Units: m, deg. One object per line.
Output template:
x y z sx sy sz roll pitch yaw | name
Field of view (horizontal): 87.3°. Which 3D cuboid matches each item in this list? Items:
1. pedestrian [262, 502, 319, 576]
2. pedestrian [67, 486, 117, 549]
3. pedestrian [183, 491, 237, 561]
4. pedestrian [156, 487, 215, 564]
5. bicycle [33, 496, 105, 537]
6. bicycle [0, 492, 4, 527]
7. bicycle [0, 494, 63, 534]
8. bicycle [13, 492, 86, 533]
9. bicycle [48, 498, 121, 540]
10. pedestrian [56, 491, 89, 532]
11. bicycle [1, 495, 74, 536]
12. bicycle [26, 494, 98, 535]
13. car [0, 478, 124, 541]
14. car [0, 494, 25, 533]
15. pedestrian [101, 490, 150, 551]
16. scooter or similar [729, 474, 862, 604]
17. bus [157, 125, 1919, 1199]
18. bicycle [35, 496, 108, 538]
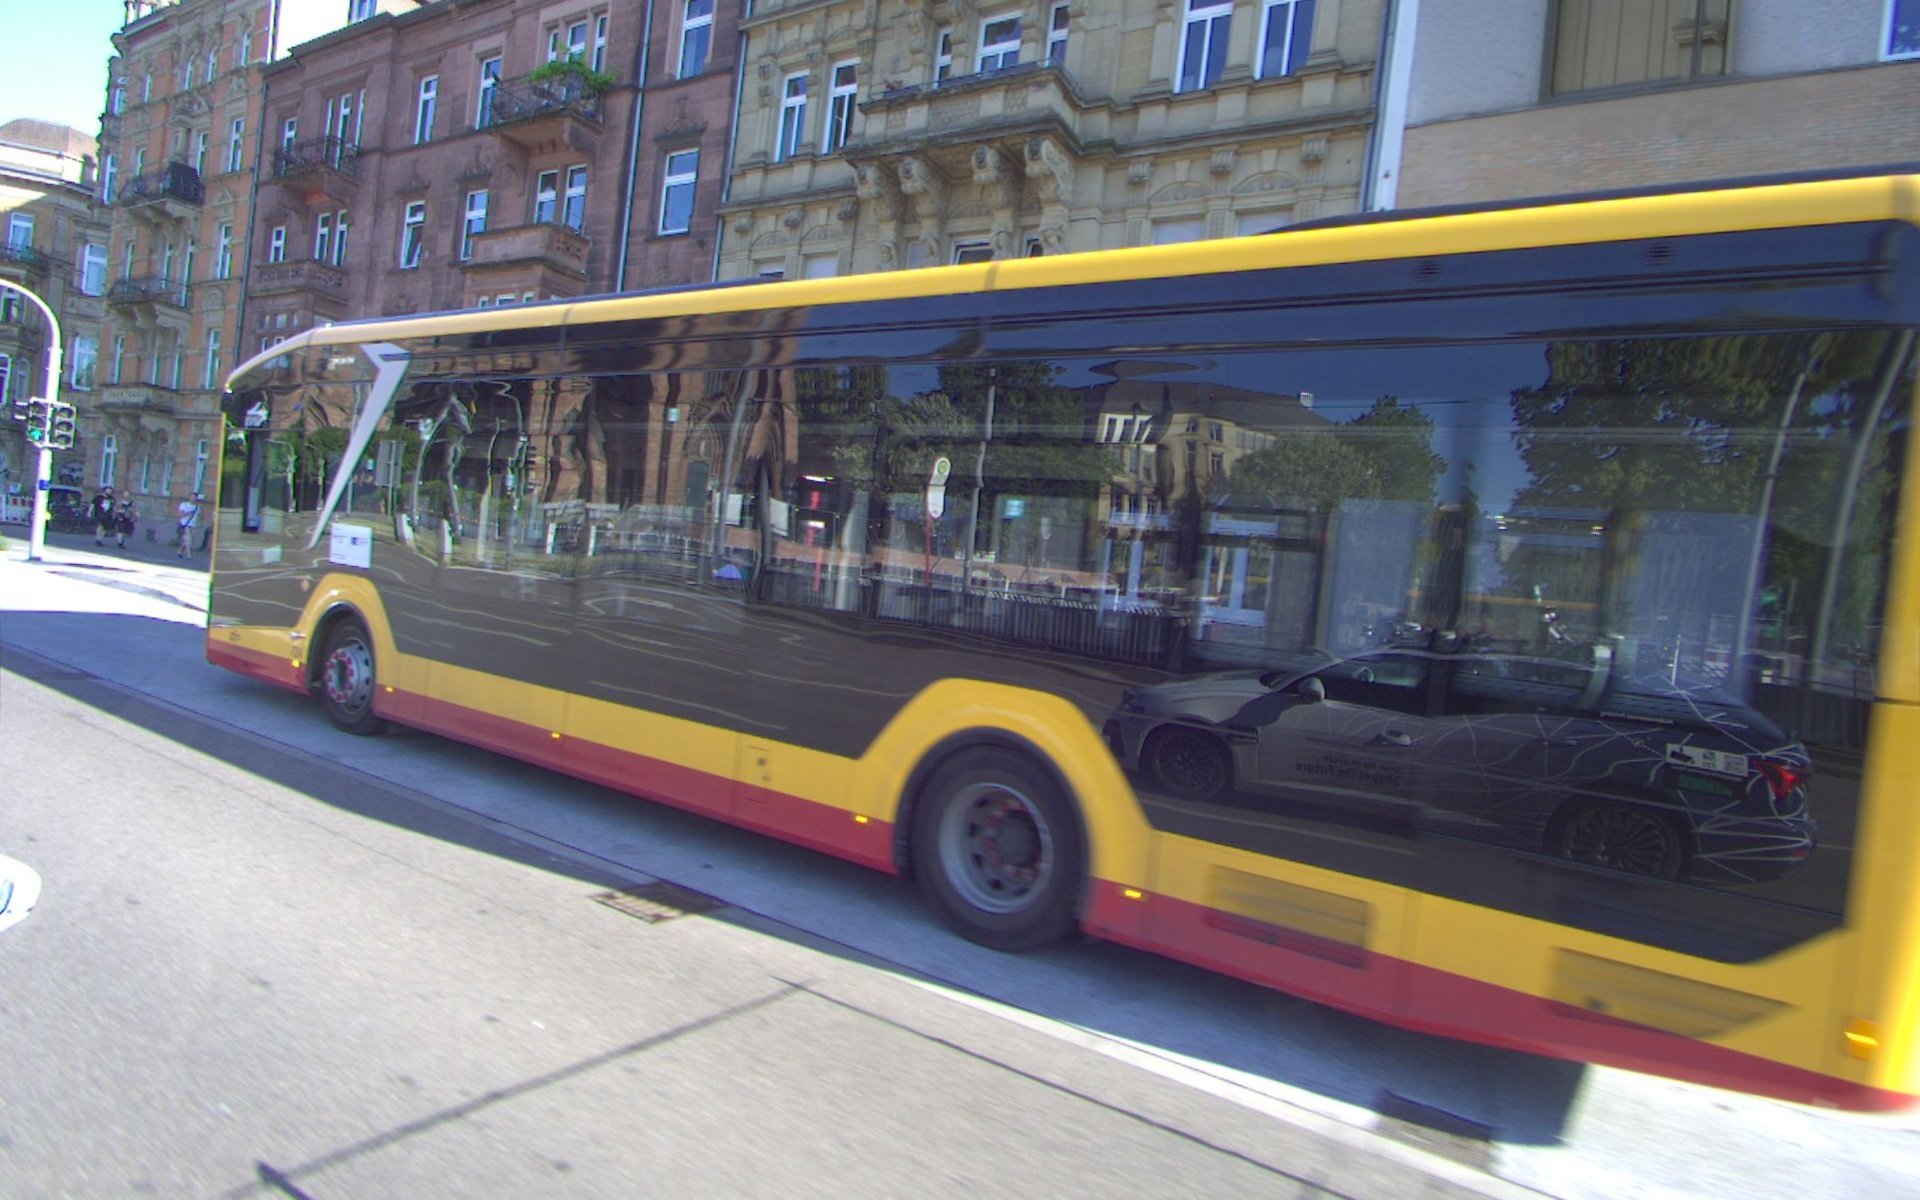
-19.325 -1.759 29.055 1.118 1.954 0.823 7 1 32 | pedestrian
-25.564 -2.431 29.639 1.118 1.676 0.703 7 1 32 | pedestrian
-22.878 -2.257 30.705 1.118 1.954 0.823 7 1 32 | pedestrian
-21.382 -2.050 27.776 1.118 1.954 0.823 7 1 32 | pedestrian
-31.922 -2.972 36.067 0.481 1.254 1.888 5 0 19 | bicycle
-35.478 -3.355 36.430 1.855 1.255 0.490 5 1 23 | bicycle
-34.048 -3.137 36.723 0.481 1.254 1.888 5 0 19 | bicycle
-32.923 -3.160 36.409 0.481 1.254 1.888 5 0 19 | bicycle
-30.912 -2.844 35.552 0.481 1.254 1.888 5 0 19 | bicycle
-37.041 -3.683 41.987 0.692 1.554 0.659 6 1 -17 | pedestrian
-33.490 -3.043 36.544 0.481 1.254 1.888 5 0 19 | bicycle
-32.423 -3.061 36.344 0.481 1.254 1.888 5 0 19 | bicycle
-42.310 -4.206 46.968 1.745 2.150 4.585 10 1 30 | car
-40.414 -3.720 40.079 1.782 1.433 4.256 10 2 31 | car
-25.126 -2.381 30.276 1.118 1.676 0.703 7 1 32 | pedestrian
-1.755 -0.653 10.724 1.271 1.265 0.432 6 2 22 | scooter or similar
-1.330 -0.284 7.120 12.333 3.222 2.717 7 1 32 | bus
-31.467 -2.934 35.648 0.481 1.254 1.888 5 0 19 | bicycle
